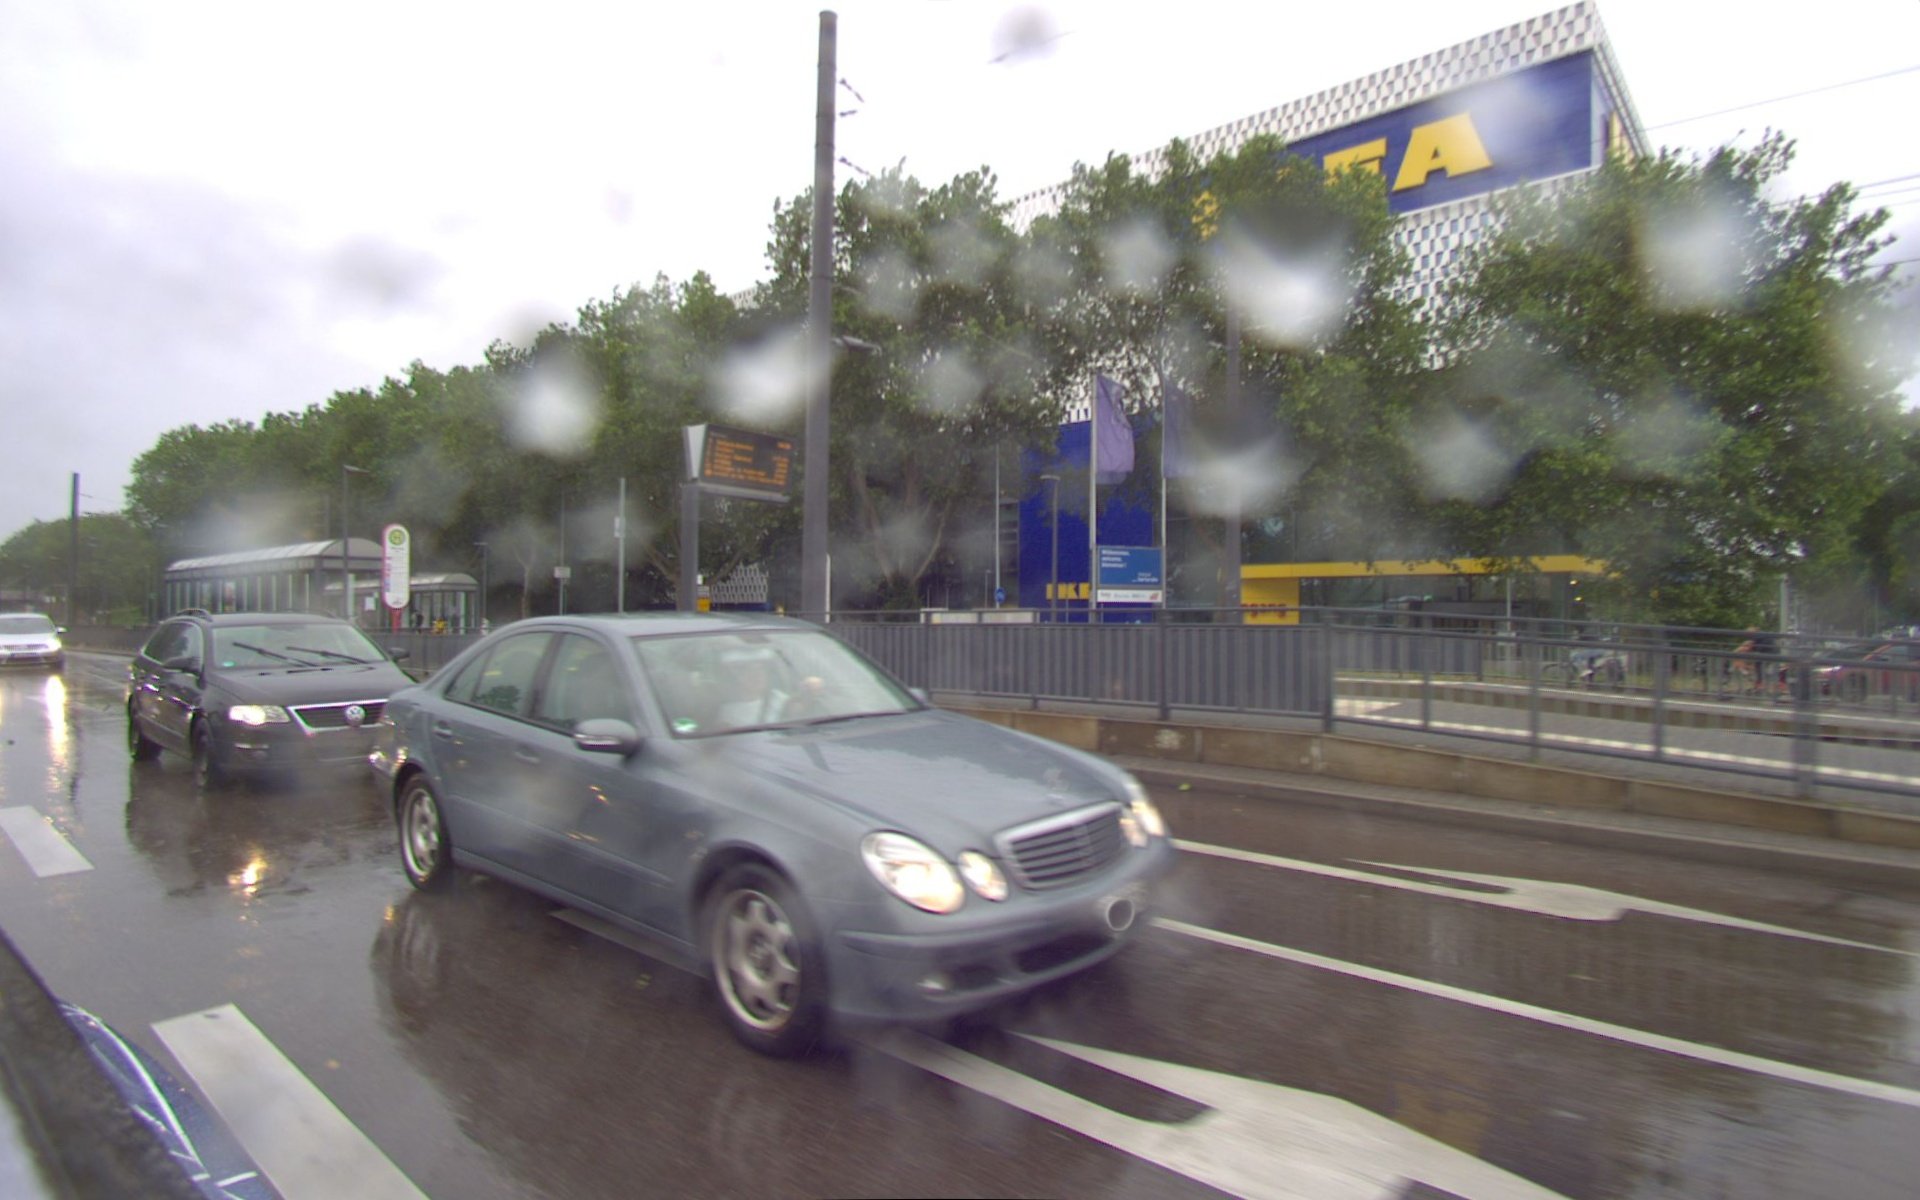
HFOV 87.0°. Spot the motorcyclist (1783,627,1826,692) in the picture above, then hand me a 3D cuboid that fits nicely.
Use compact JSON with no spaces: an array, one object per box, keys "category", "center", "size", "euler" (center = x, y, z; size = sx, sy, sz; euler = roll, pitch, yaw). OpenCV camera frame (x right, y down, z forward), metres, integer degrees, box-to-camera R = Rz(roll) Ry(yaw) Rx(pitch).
[{"category":"motorcyclist","center":[20.583,1.437,24.685],"size":[0.655,1.533,0.858],"euler":[-3,-1,33]}]

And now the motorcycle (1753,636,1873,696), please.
[{"category":"motorcycle","center":[20.690,1.603,24.611],"size":[2.075,1.364,0.855],"euler":[-3,-1,34]}]

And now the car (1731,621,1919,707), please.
[{"category":"car","center":[19.588,1.374,22.252],"size":[3.989,1.731,1.754],"euler":[-3,-1,34]}]

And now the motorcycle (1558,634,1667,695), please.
[{"category":"motorcycle","center":[15.436,1.518,23.970],"size":[2.077,1.364,0.855],"euler":[-3,-1,36]}]

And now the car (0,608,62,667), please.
[{"category":"car","center":[-26.342,1.061,28.047],"size":[4.041,1.536,1.693],"euler":[-3,-1,41]}]

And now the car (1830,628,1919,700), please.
[{"category":"car","center":[24.800,1.475,24.768],"size":[4.997,1.579,1.997],"euler":[-3,-1,5]}]

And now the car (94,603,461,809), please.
[{"category":"car","center":[-6.648,0.828,9.619],"size":[4.694,1.485,1.730],"euler":[-2,0,41]}]

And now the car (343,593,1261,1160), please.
[{"category":"car","center":[-1.176,0.745,4.779],"size":[4.696,1.424,1.693],"euler":[-2,0,42]}]

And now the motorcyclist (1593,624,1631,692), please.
[{"category":"motorcyclist","center":[15.438,1.363,23.970],"size":[0.656,1.533,0.857],"euler":[-3,-1,36]}]
